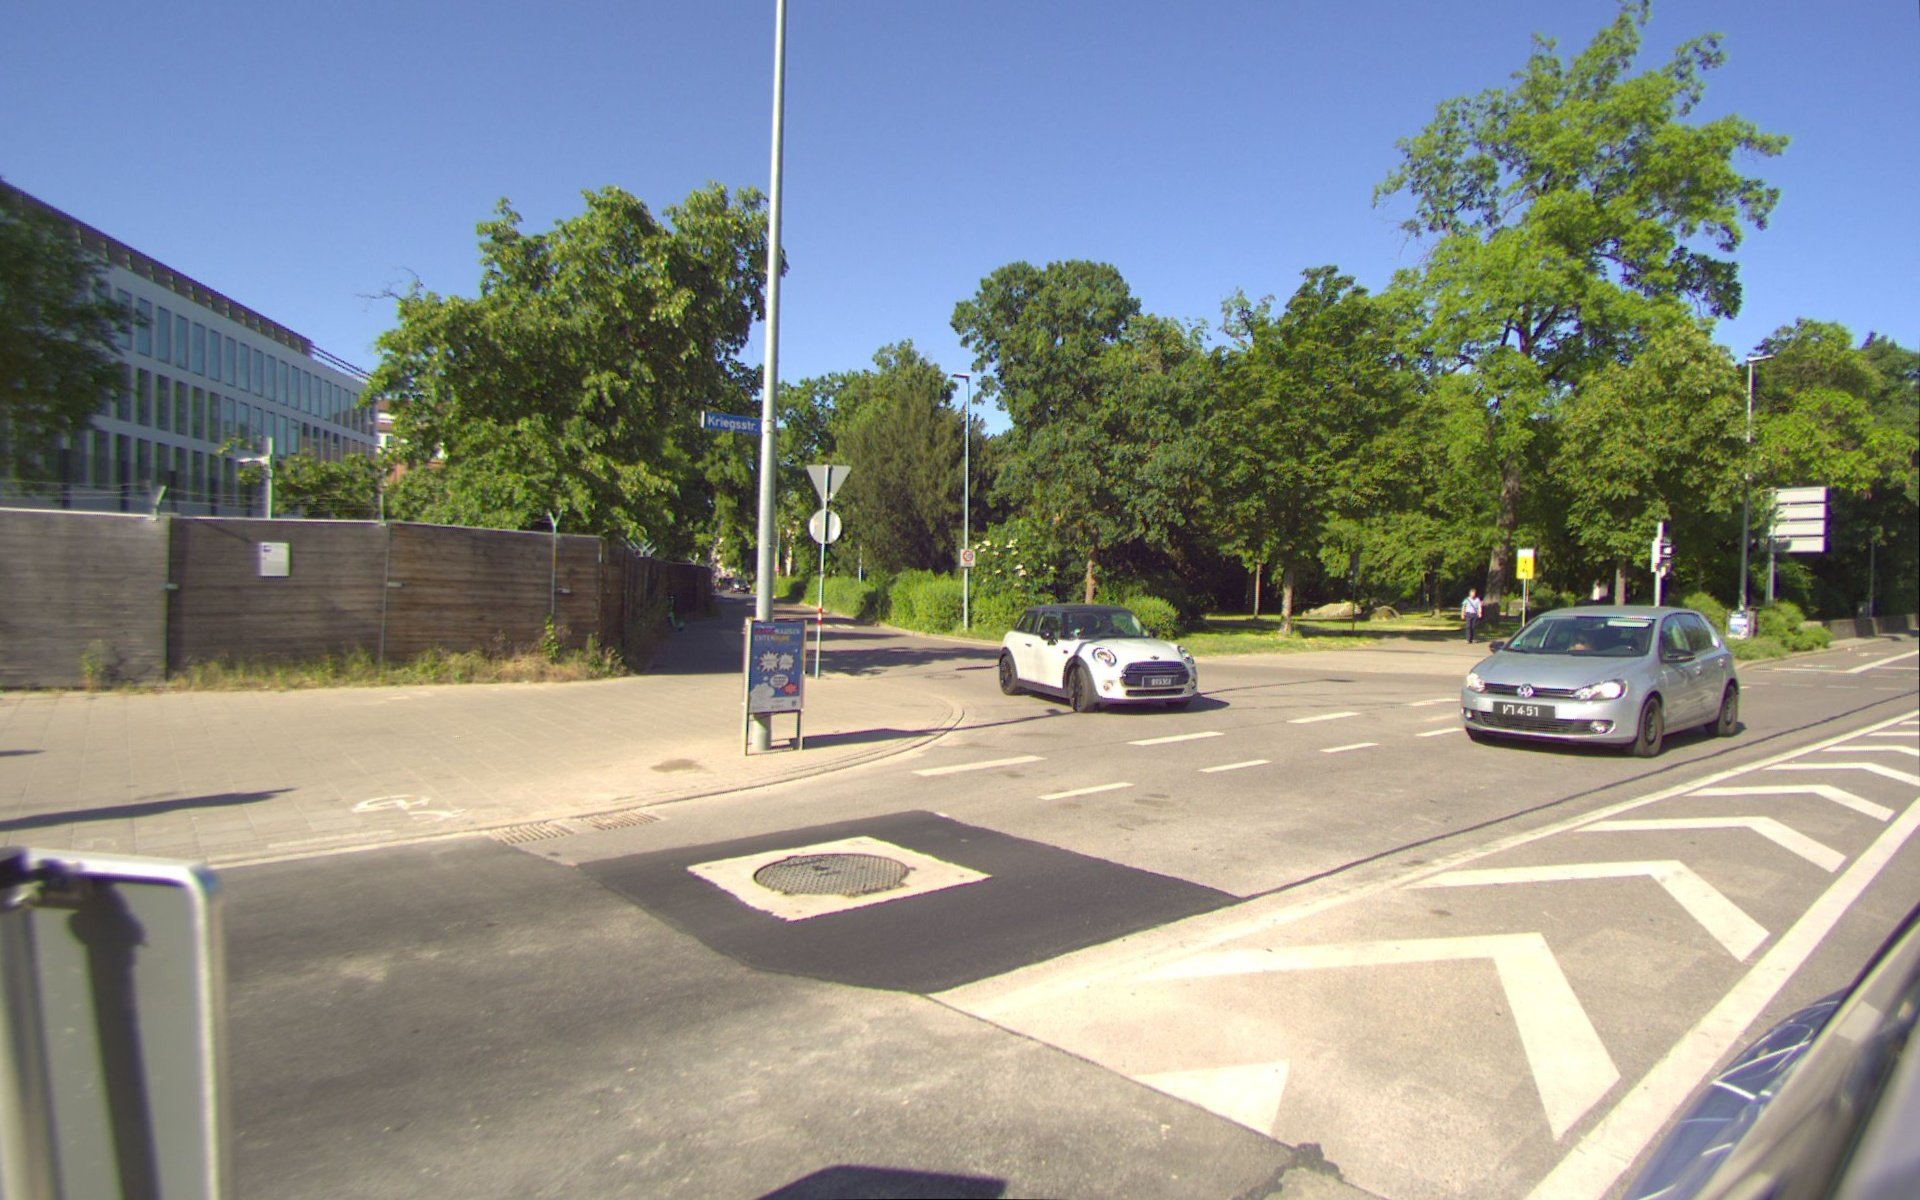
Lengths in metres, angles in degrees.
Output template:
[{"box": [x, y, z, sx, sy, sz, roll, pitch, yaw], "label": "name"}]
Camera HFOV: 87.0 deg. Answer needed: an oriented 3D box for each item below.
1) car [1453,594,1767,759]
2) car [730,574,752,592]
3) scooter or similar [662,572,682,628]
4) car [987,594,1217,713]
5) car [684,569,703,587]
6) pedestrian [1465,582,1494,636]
[{"box": [7.237, 0.689, 11.144, 3.926, 1.493, 1.703, 0, 1, -38], "label": "car"}, {"box": [-24.672, -1.887, 114.052, 1.958, 2.039, 4.008, 0, 0, -19], "label": "car"}, {"box": [-9.107, -0.009, 32.074, 0.563, 1.705, 2.081, 0, 0, -15], "label": "scooter or similar"}, {"box": [1.896, 0.657, 14.691, 1.735, 1.454, 3.719, 0, 1, -21], "label": "car"}, {"box": [-30.646, -2.548, 116.300, 1.958, 2.039, 4.008, 0, 0, -15], "label": "car"}, {"box": [16.720, 0.287, 32.588, 0.729, 1.724, 0.869, 0, 0, 20], "label": "pedestrian"}]
